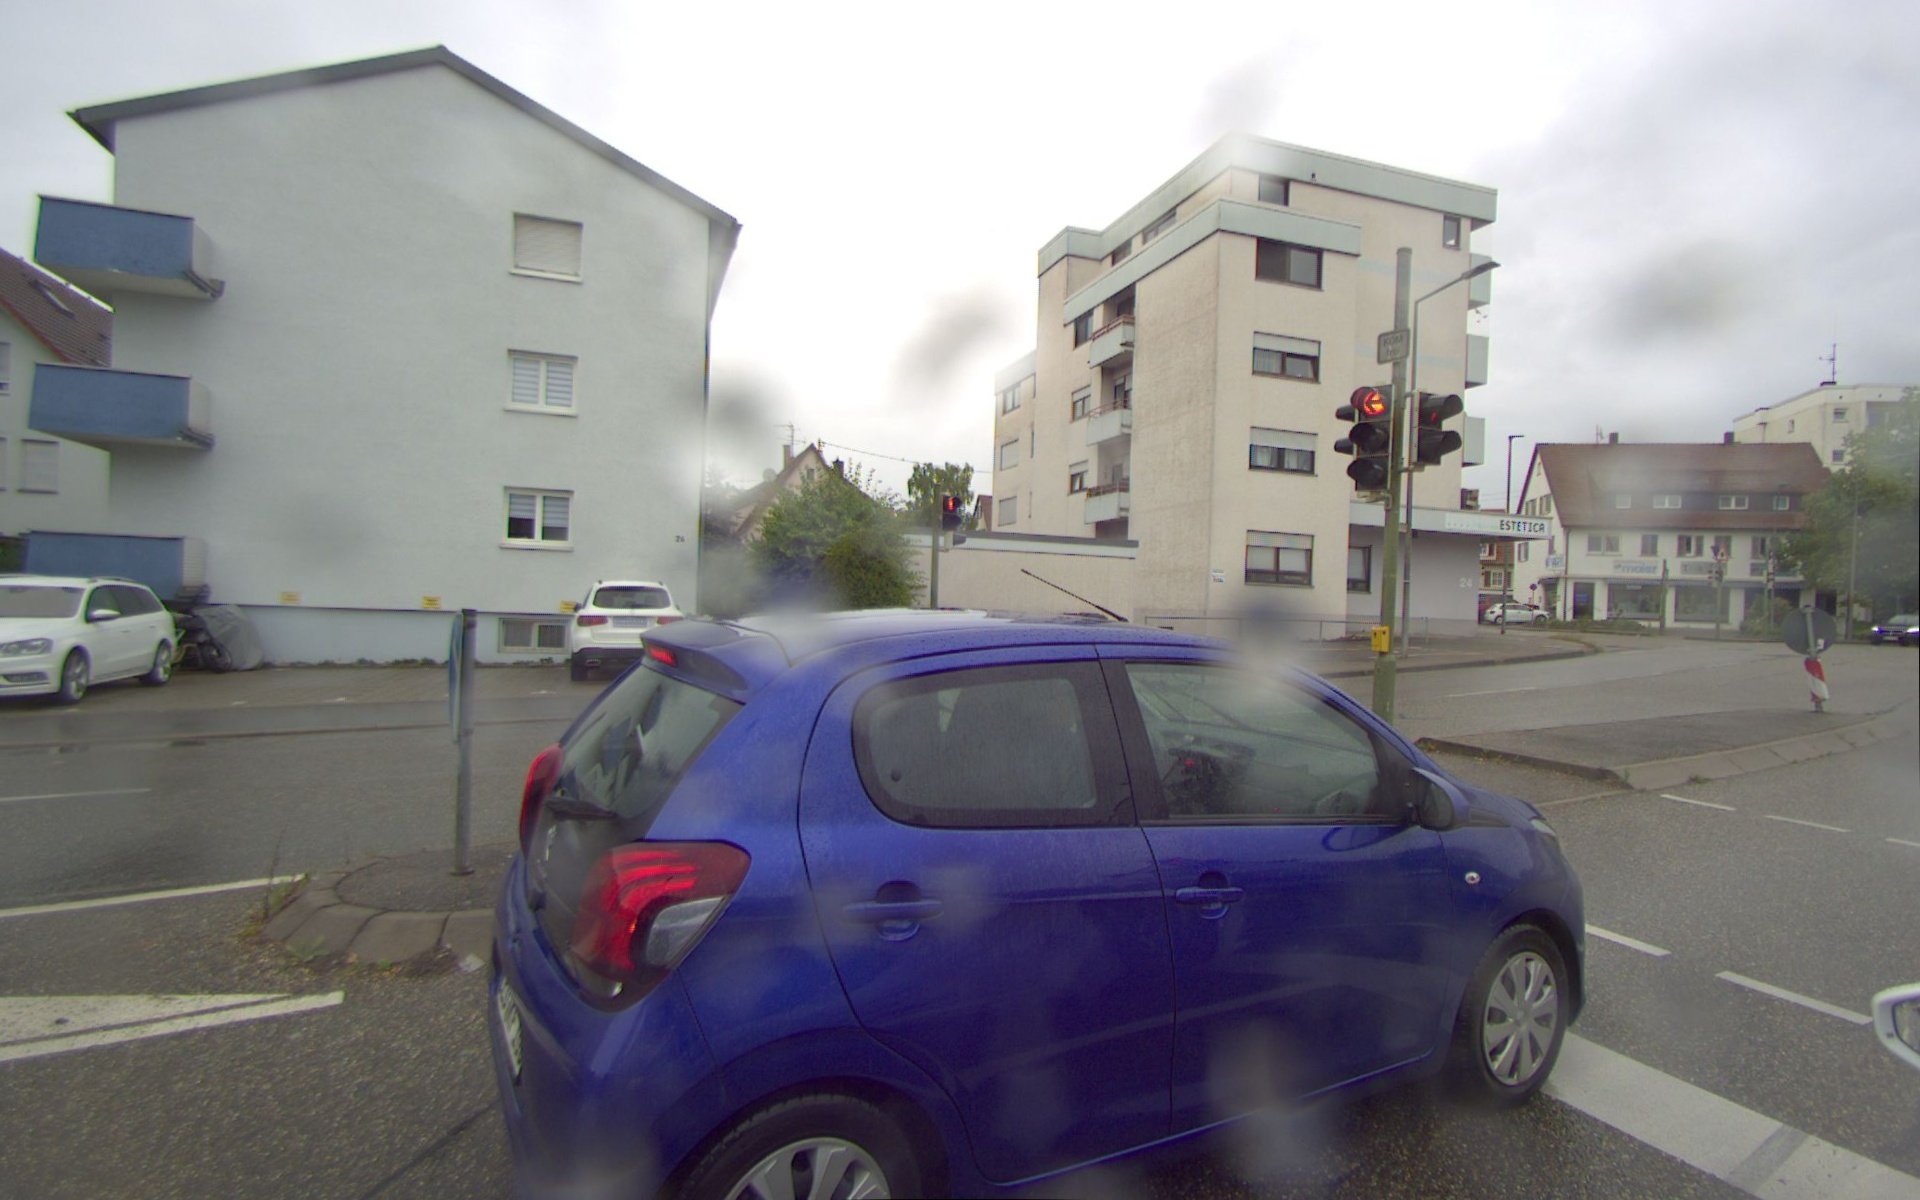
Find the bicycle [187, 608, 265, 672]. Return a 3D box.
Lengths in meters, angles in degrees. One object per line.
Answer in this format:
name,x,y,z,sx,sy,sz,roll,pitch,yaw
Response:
bicycle,-12.707,0.680,17.411,1.053,1.067,0.345,0,1,-30

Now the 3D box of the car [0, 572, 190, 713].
car,-11.494,0.449,12.496,1.854,1.480,4.732,1,-1,-23

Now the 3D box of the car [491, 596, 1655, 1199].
car,0.456,0.737,3.090,3.324,1.432,1.498,1,1,-30

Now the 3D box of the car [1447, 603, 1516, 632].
car,37.204,1.234,71.714,3.987,1.868,1.889,2,0,14

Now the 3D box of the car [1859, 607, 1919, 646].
car,42.520,1.215,45.146,4.488,1.646,1.983,2,0,-32

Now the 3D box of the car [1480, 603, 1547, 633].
car,37.911,1.229,68.883,3.611,1.946,1.889,2,0,14

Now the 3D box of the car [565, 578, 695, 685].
car,-5.776,0.503,17.565,1.884,1.637,3.982,2,0,-19
